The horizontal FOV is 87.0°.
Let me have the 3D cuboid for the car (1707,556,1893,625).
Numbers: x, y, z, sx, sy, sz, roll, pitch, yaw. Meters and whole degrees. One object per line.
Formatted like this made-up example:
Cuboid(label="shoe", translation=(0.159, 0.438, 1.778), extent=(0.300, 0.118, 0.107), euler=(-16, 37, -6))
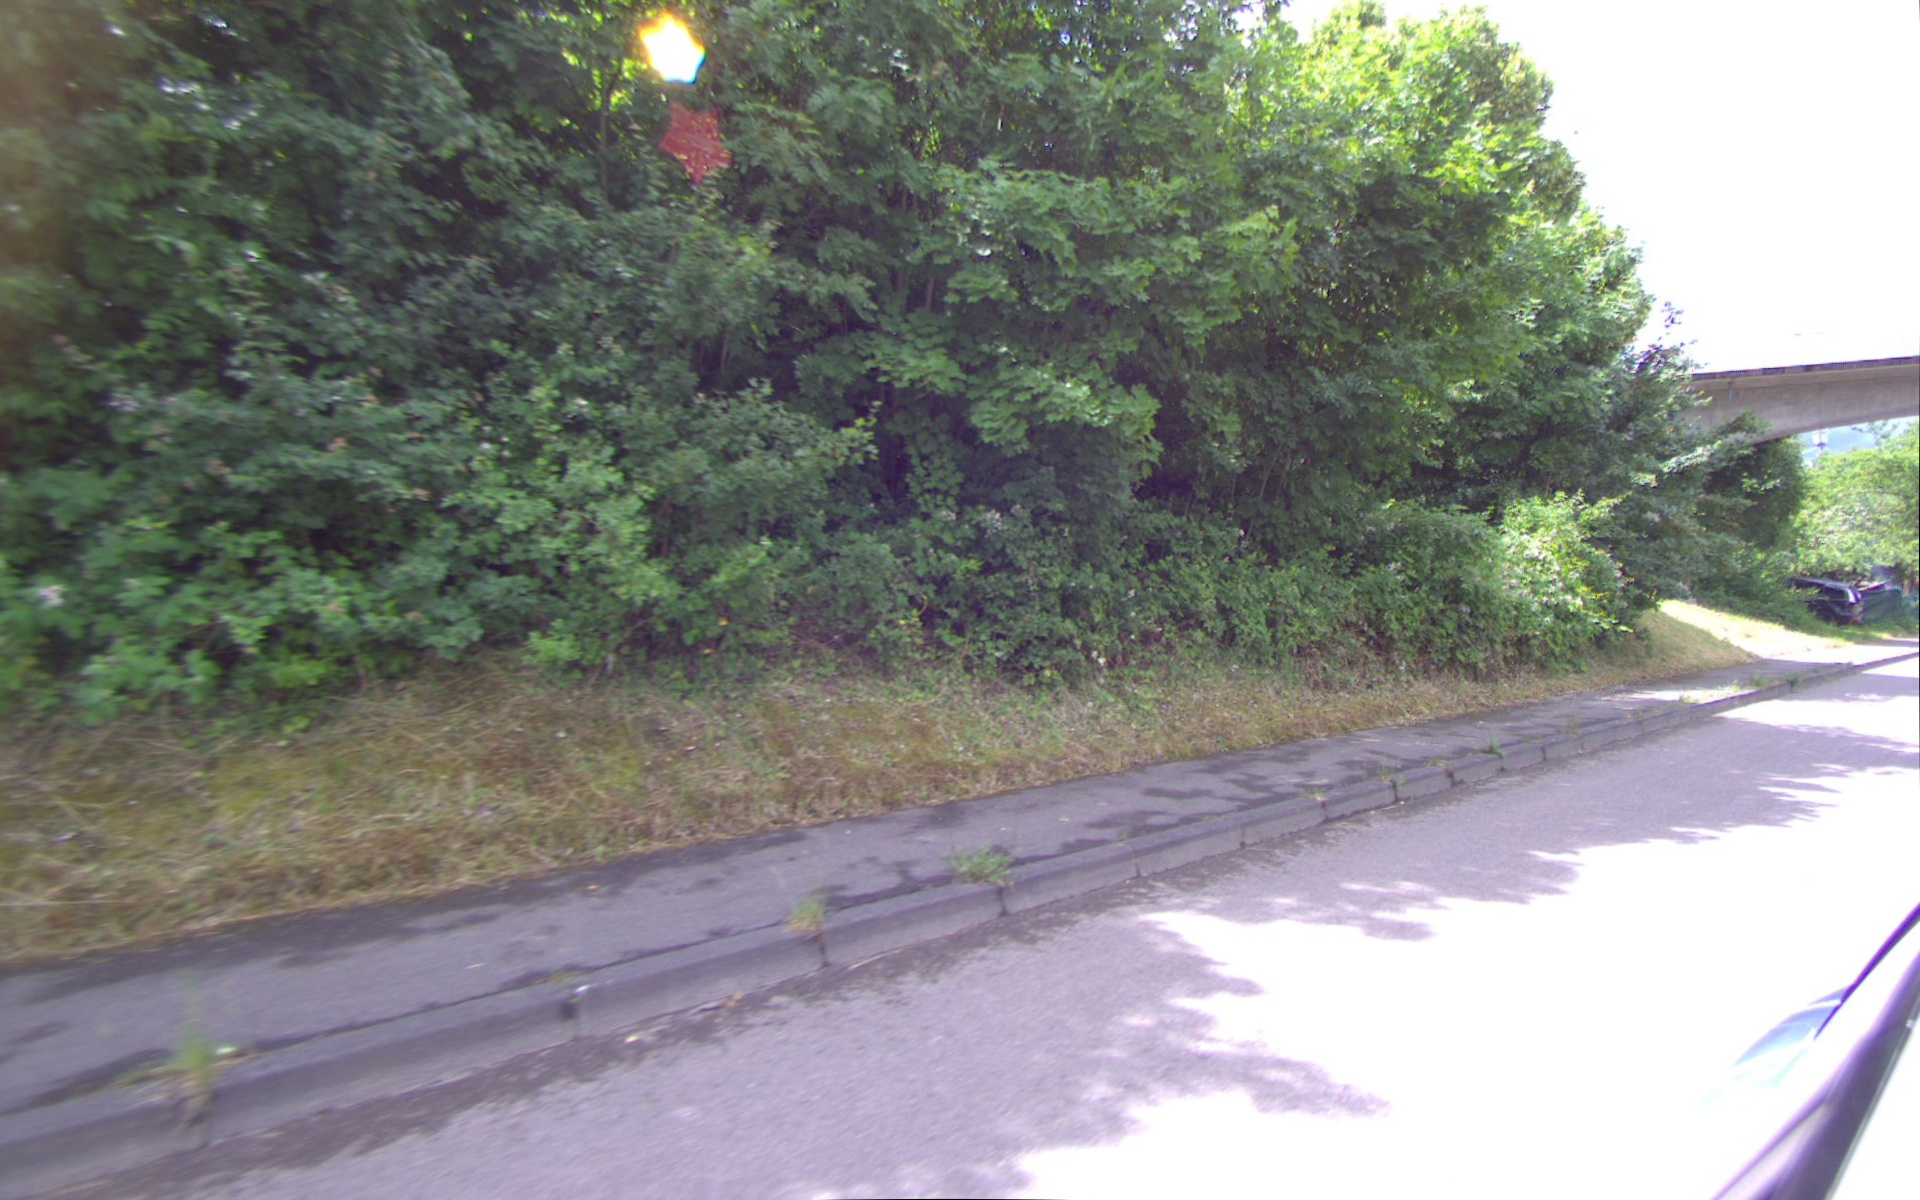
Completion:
Cuboid(label="car", translation=(29.325, -0.412, 35.464), extent=(1.964, 1.689, 4.544), euler=(-3, 11, -37))
